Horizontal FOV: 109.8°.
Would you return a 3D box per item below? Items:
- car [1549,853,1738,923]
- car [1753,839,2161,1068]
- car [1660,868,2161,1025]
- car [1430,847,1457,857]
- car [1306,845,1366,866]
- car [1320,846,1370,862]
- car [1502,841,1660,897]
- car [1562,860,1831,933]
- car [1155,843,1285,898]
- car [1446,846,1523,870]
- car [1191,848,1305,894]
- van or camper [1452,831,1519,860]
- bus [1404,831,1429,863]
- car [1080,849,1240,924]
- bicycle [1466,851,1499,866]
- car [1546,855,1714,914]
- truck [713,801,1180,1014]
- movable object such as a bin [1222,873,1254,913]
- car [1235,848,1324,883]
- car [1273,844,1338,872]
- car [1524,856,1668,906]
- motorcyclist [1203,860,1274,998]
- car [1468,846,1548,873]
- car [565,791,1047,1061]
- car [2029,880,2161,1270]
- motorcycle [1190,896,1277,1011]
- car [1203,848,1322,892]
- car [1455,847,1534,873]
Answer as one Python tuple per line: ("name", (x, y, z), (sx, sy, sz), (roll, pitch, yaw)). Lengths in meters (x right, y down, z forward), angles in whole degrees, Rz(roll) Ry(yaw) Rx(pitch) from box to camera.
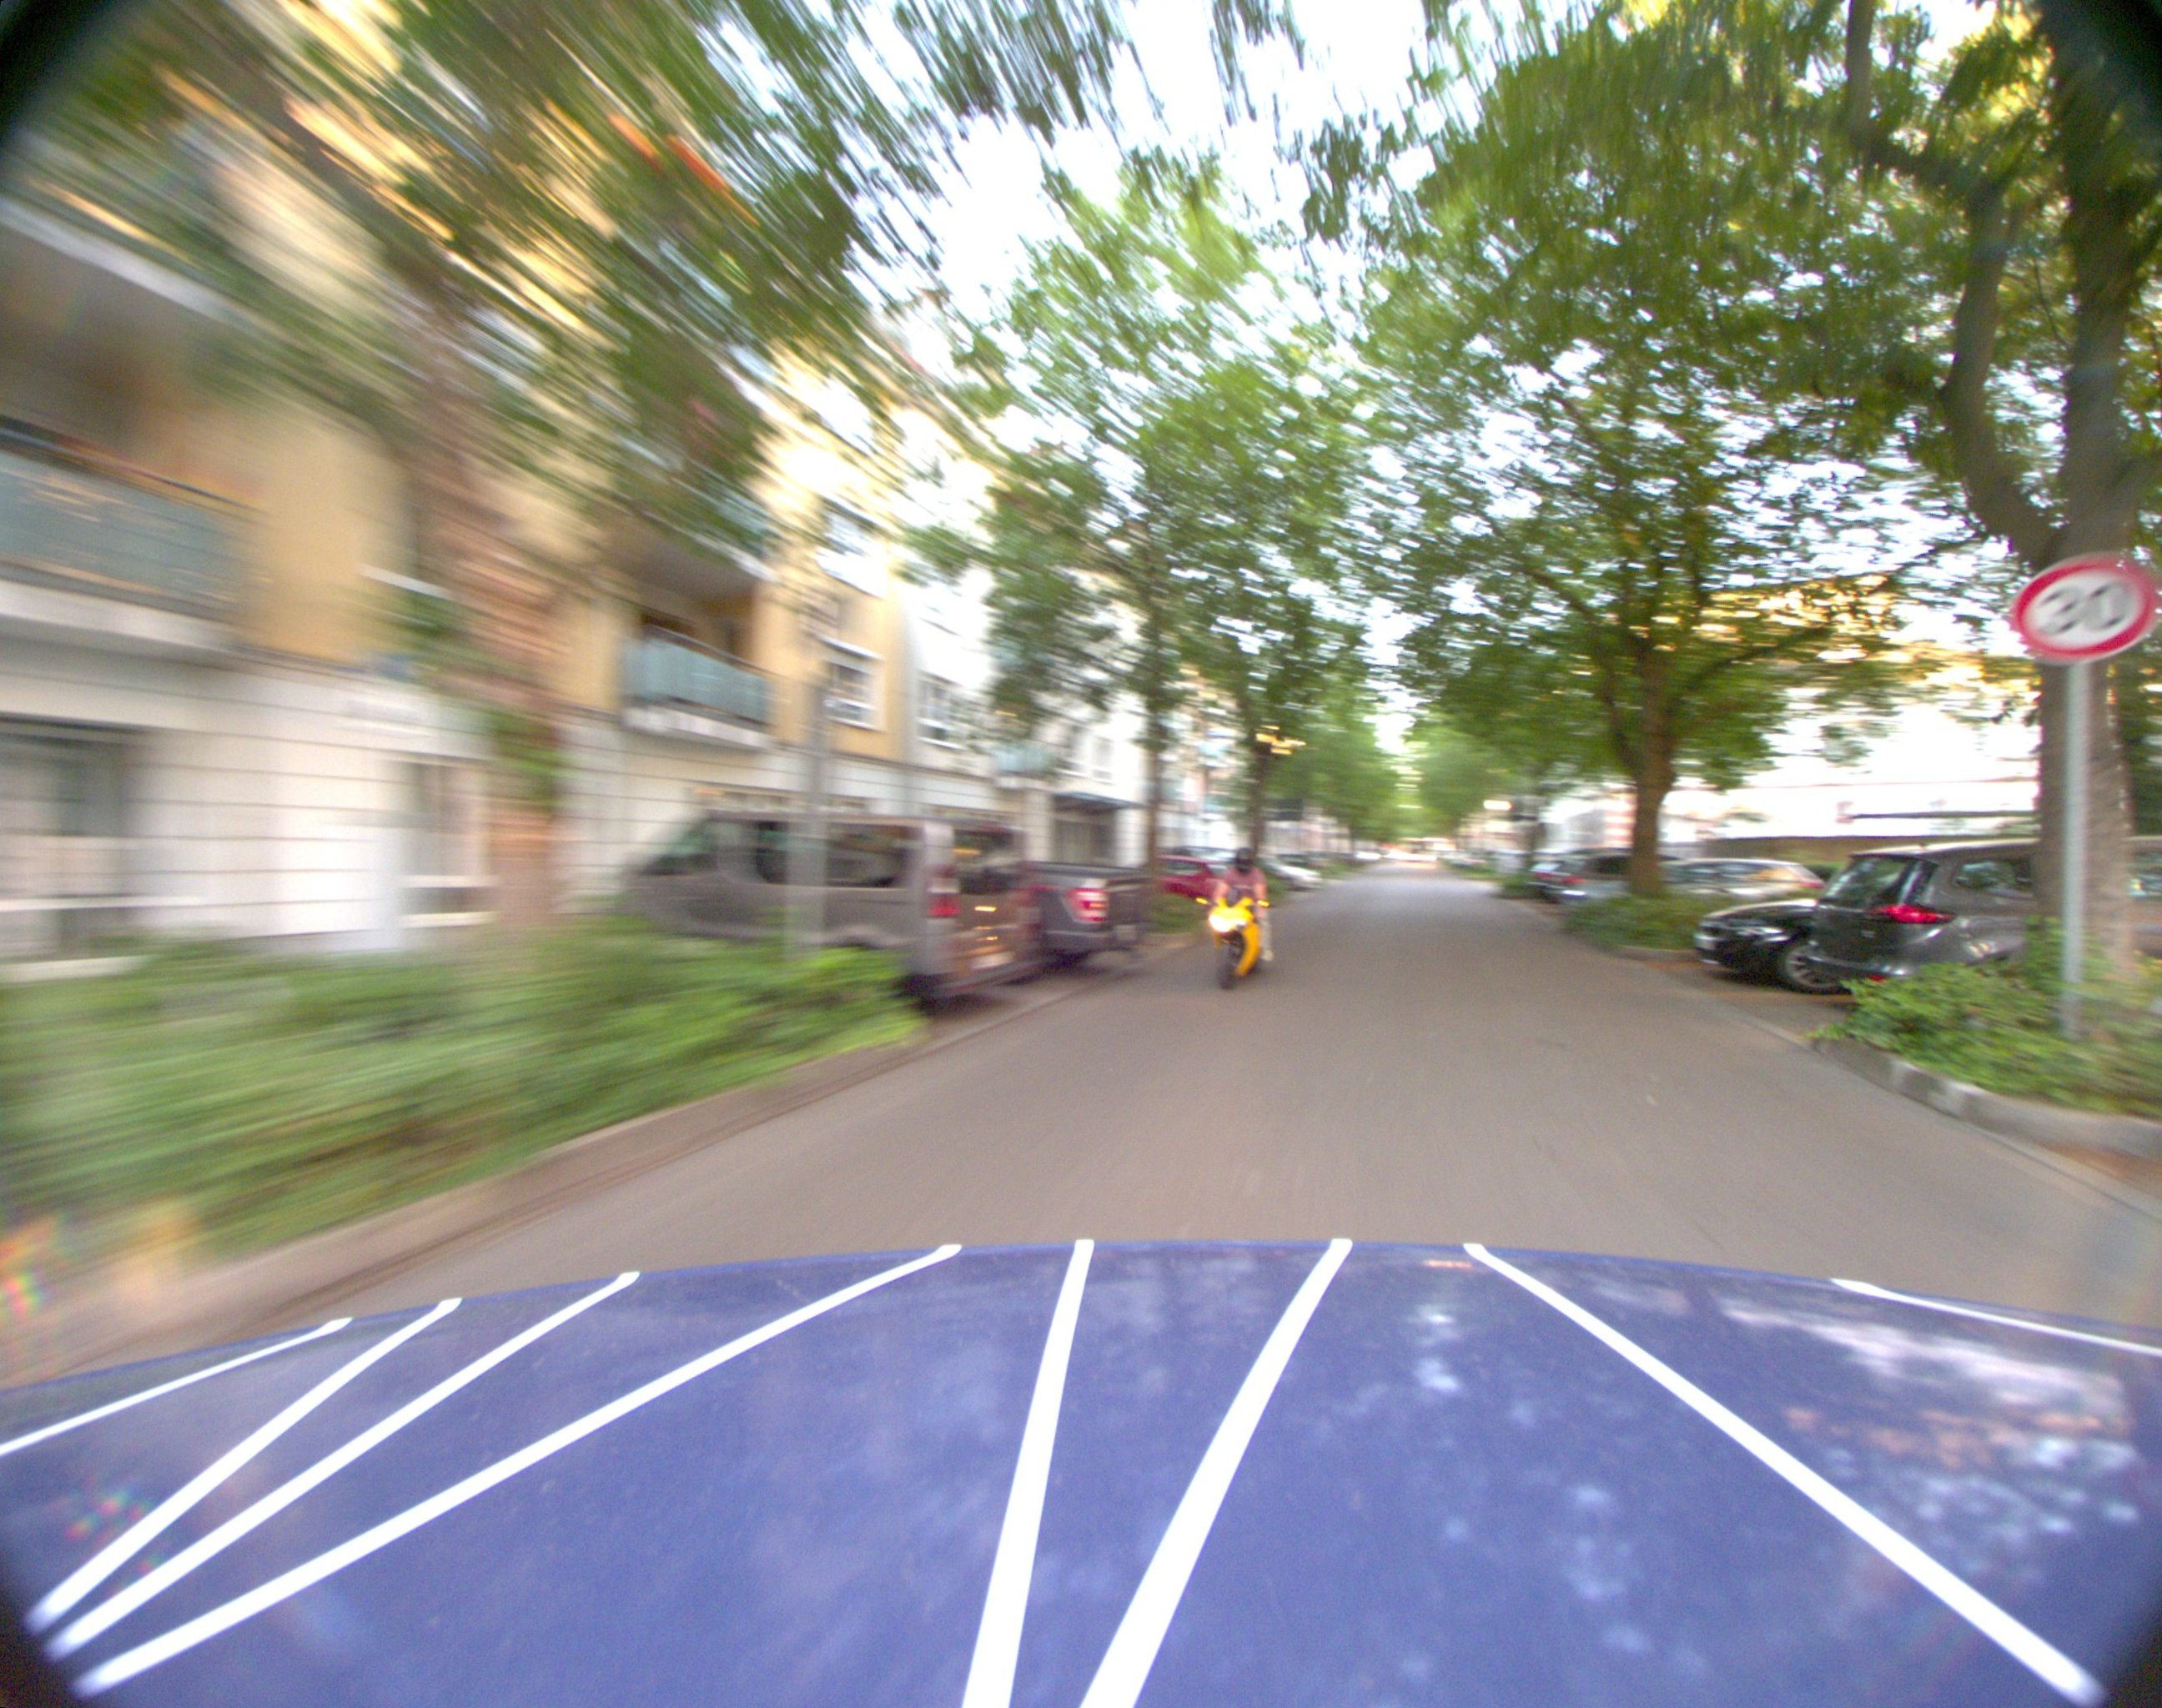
("car", (13.779, 0.786, 18.859), (3.408, 1.600, 1.763), (0, 1, 21))
("car", (8.937, 0.735, 6.427), (4.400, 1.675, 2.067), (-2, 0, 21))
("car", (9.711, 0.916, 8.522), (4.720, 1.416, 2.075), (-1, 0, 21))
("car", (58.712, -0.349, 123.125), (3.851, 1.623, 1.678), (2, 1, 23))
("car", (20.958, 0.093, 62.475), (4.359, 1.462, 1.734), (3, 2, 28))
("car", (26.310, -0.042, 75.768), (4.586, 1.462, 1.699), (2, 1, 24))
("car", (17.649, 0.524, 27.100), (4.422, 1.881, 2.003), (-1, 0, 22))
("car", (12.861, 0.879, 16.216), (4.104, 1.371, 1.749), (-2, 0, 21))
("car", (5.055, 0.549, 27.428), (4.389, 1.694, 1.897), (3, 2, 15))
("car", (28.323, 0.261, 53.458), (4.540, 1.673, 1.624), (0, 1, 19))
("car", (6.495, 0.618, 29.624), (3.989, 1.517, 1.729), (3, 2, 25))
("van or camper", (34.036, -0.708, 64.115), (4.821, 2.413, 1.948), (0, 1, 23))
("bus", (45.037, -0.932, 102.179), (2.828, 4.086, 7.844), (1, 1, 23))
("car", (2.047, 0.761, 19.518), (3.667, 1.540, 1.783), (3, 3, 21))
("bicycle", (27.295, 0.290, 51.648), (1.903, 1.019, 0.480), (0, 1, 21))
("car", (14.851, 0.790, 20.779), (3.408, 1.498, 1.667), (0, 1, 21))
("truck", (-1.920, 0.501, 10.534), (6.007, 2.121, 2.264), (4, 2, 23))
("movable object such as a bin", (4.399, 1.077, 21.242), (0.775, 1.061, 0.590), (0, 1, 22))
("car", (9.786, 0.544, 37.408), (3.990, 1.466, 1.916), (3, 2, 19))
("car", (14.963, 0.251, 50.623), (3.865, 1.657, 1.929), (2, 2, 23))
("car", (15.732, 0.810, 23.414), (3.408, 1.434, 1.596), (0, 1, 21))
("motorcyclist", (1.973, 0.884, 9.454), (0.720, 1.605, 0.916), (0, 1, 20))
("car", (25.598, 0.345, 45.728), (3.990, 1.582, 1.791), (-1, 0, 22))
("car", (-2.941, 0.520, 8.123), (4.622, 2.121, 2.040), (4, 2, 23))
("car", (6.372, 0.862, 1.927), (4.502, 1.572, 2.058), (-2, 0, 24))
("motorcycle", (1.944, 1.151, 9.424), (0.735, 1.115, 2.111), (0, 1, 20))
("car", (7.607, 0.629, 31.861), (4.575, 1.543, 1.775), (3, 2, 22))
("car", (25.023, 0.362, 46.160), (3.991, 1.579, 1.831), (0, 1, 21))
